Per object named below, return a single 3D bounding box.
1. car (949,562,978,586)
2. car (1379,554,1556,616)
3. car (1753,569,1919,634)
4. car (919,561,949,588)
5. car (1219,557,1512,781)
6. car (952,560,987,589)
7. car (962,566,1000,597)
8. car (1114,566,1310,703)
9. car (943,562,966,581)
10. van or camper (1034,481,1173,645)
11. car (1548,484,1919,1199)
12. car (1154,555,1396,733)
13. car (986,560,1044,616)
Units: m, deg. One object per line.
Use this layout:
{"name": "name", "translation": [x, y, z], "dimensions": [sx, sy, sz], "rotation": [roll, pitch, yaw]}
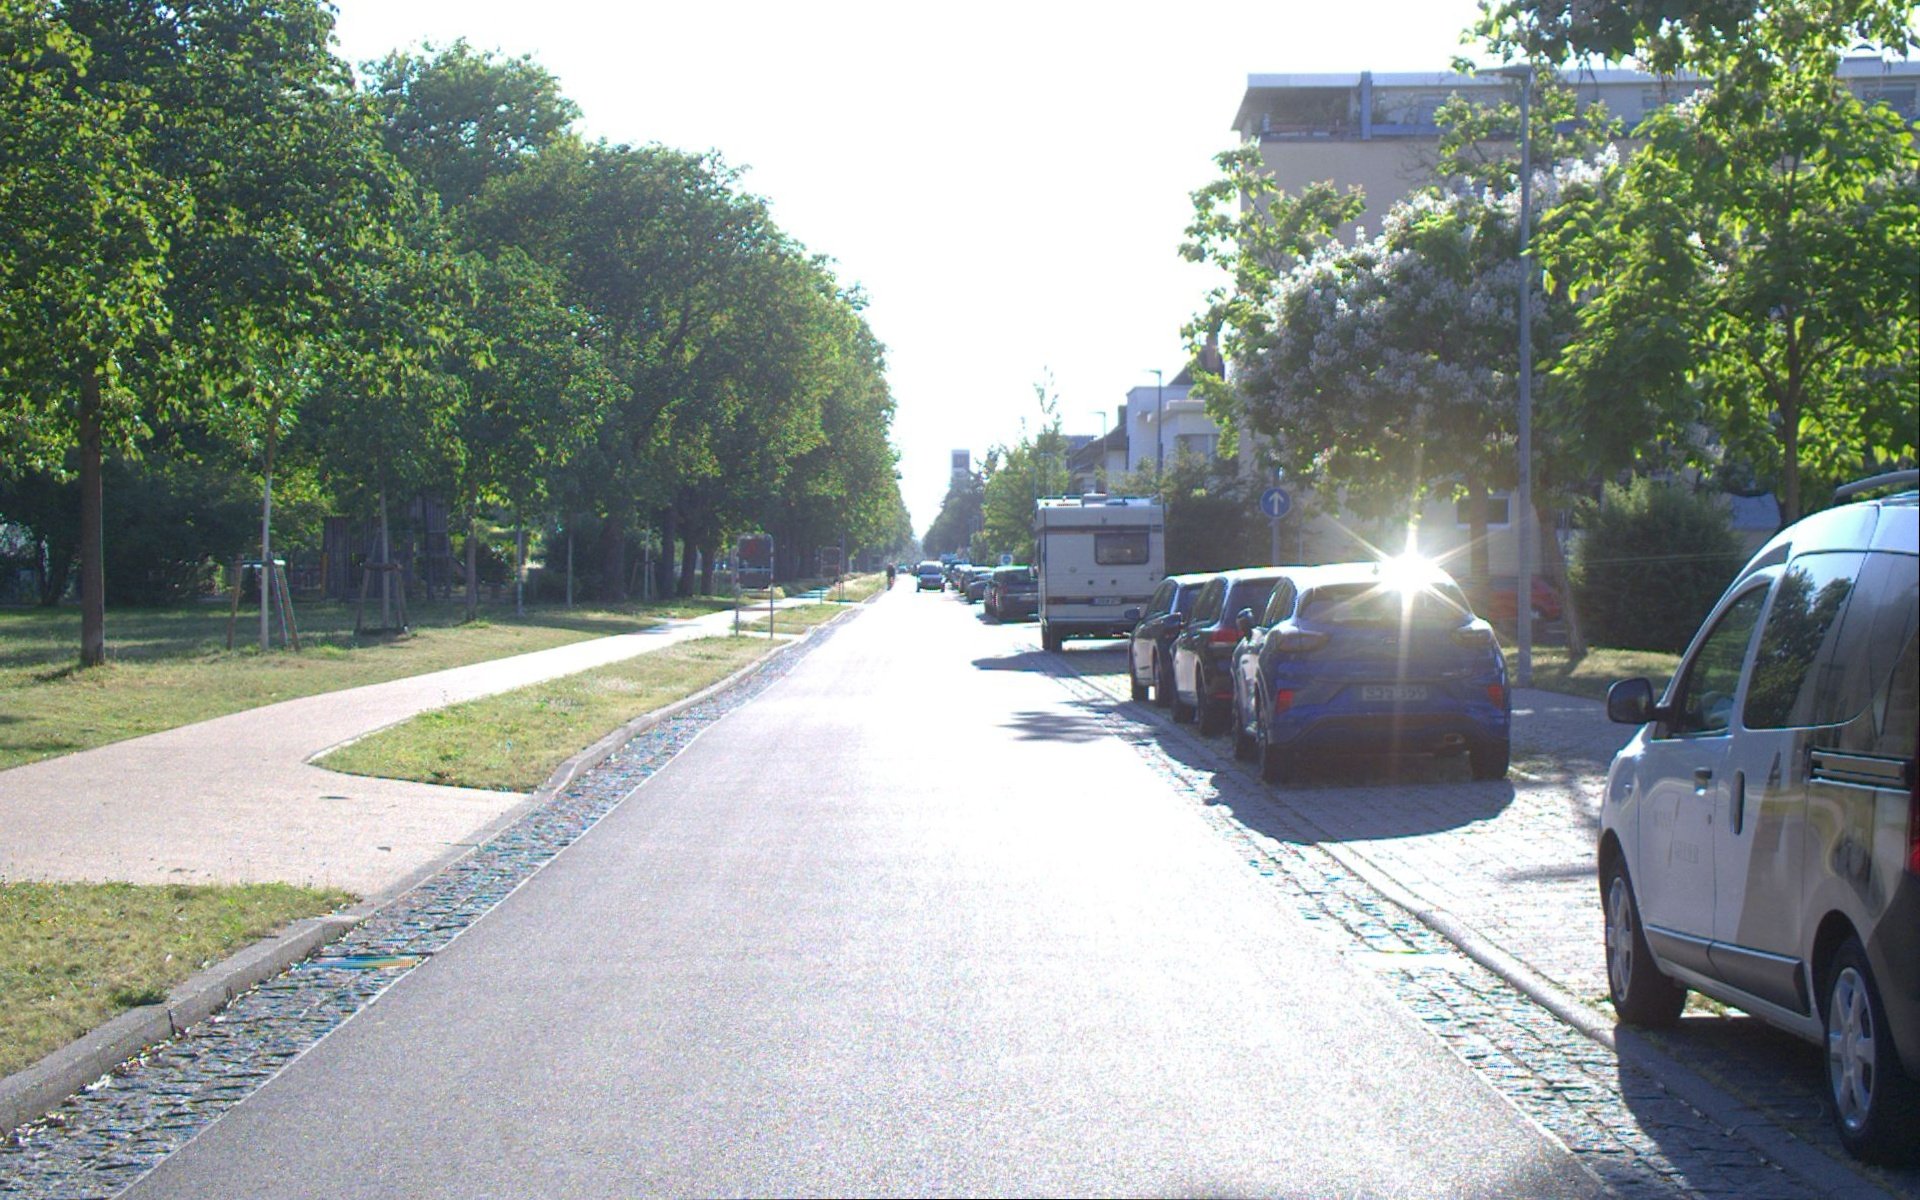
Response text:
{"name": "car", "translation": [0.205, -1.553, 206.086], "dimensions": [1.626, 1.405, 4.249], "rotation": [0, 0, -1]}
{"name": "car", "translation": [12.577, -0.370, 85.348], "dimensions": [4.195, 1.525, 2.000], "rotation": [0, 0, 4]}
{"name": "car", "translation": [20.159, 0.027, 77.900], "dimensions": [4.198, 1.458, 1.692], "rotation": [0, 0, 15]}
{"name": "car", "translation": [-1.599, -1.550, 212.982], "dimensions": [1.825, 1.663, 4.249], "rotation": [0, 0, -1]}
{"name": "car", "translation": [2.966, 0.469, 25.915], "dimensions": [1.732, 1.545, 4.275], "rotation": [0, 0, 0]}
{"name": "car", "translation": [0.468, -1.258, 169.776], "dimensions": [1.626, 1.405, 4.249], "rotation": [0, 0, -1]}
{"name": "car", "translation": [0.958, -0.847, 158.342], "dimensions": [1.626, 1.405, 4.249], "rotation": [0, 0, -1]}
{"name": "car", "translation": [2.784, 0.359, 38.751], "dimensions": [1.626, 1.459, 4.250], "rotation": [0, 0, -4]}
{"name": "car", "translation": [-0.422, -2.130, 258.101], "dimensions": [1.626, 1.405, 4.249], "rotation": [0, 0, -1]}
{"name": "van or camper", "translation": [2.591, -0.625, 63.485], "dimensions": [2.234, 2.894, 5.673], "rotation": [0, -1, -1]}
{"name": "car", "translation": [3.056, 0.576, 10.494], "dimensions": [1.678, 1.734, 4.514], "rotation": [0, 0, -1]}
{"name": "car", "translation": [2.869, 0.374, 32.167], "dimensions": [1.731, 1.545, 4.423], "rotation": [0, 0, -2]}
{"name": "car", "translation": [1.650, -0.359, 104.567], "dimensions": [1.626, 1.663, 4.249], "rotation": [0, 0, -1]}
